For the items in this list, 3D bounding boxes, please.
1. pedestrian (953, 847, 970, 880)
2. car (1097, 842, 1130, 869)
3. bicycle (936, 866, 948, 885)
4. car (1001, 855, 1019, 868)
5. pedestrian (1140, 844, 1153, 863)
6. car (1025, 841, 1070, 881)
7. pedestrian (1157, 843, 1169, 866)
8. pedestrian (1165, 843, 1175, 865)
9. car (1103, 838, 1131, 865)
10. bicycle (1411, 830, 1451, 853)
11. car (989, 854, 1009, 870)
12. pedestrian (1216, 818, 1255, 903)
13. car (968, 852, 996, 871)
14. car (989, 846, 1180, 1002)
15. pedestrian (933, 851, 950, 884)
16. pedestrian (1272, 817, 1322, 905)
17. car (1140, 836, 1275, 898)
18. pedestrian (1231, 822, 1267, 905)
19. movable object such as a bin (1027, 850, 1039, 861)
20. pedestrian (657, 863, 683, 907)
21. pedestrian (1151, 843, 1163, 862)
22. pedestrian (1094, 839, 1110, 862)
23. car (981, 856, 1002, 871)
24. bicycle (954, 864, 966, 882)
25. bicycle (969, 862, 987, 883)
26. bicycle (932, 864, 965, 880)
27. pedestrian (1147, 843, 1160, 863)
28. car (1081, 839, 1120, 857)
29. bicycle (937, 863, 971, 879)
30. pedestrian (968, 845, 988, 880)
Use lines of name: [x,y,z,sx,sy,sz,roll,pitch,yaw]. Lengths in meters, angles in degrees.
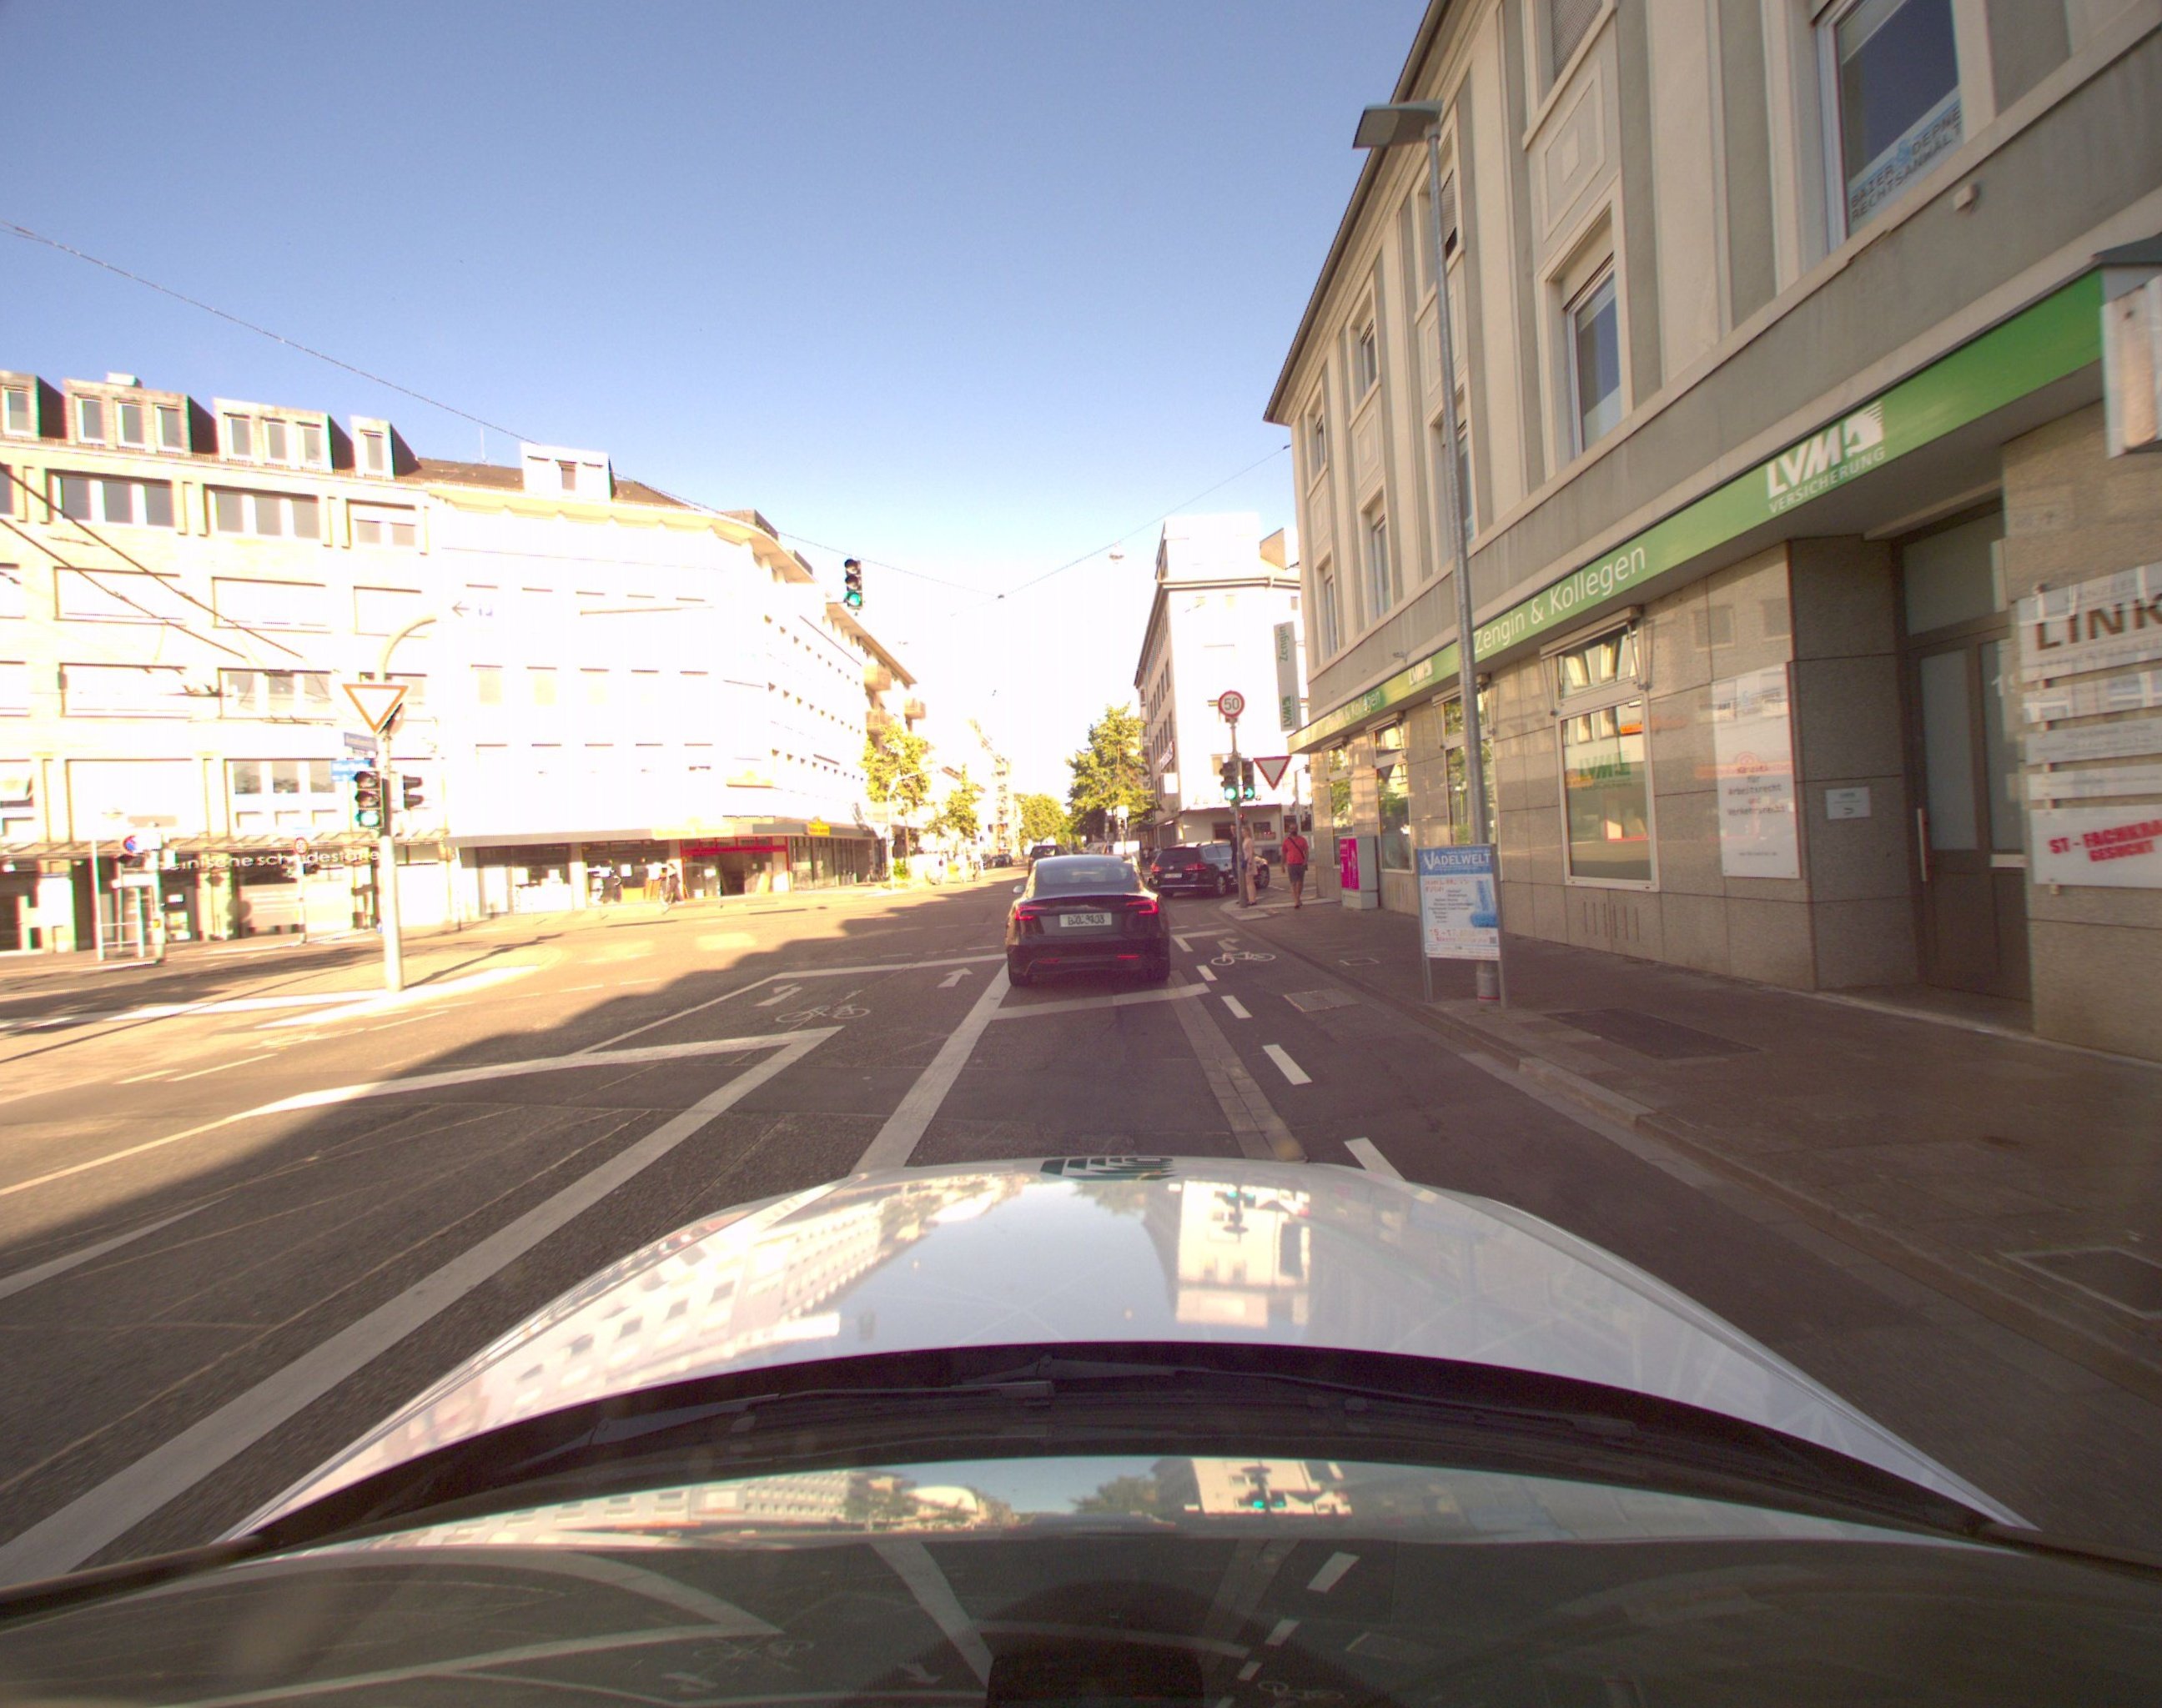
pedestrian: [-6.579,0.524,44.819,0.779,1.727,0.556,-3,0,-14]
car: [2.161,0.068,54.678,1.994,1.636,4.289,-4,0,1]
bicycle: [-7.528,1.156,43.984,0.481,0.955,1.449,-4,0,-13]
car: [-8.328,0.891,95.686,1.781,1.402,3.904,-3,0,-1]
pedestrian: [4.818,-0.064,59.751,0.707,1.347,1.059,-4,0,-3]
car: [-1.594,0.298,40.172,1.897,1.733,4.289,-4,0,1]
pedestrian: [4.921,0.021,49.144,0.584,1.312,0.560,-4,0,0]
pedestrian: [5.482,-0.023,49.923,0.485,1.322,0.655,-4,0,8]
car: [2.643,-0.175,61.253,1.897,1.852,4.289,-4,0,1]
bicycle: [20.231,-0.704,47.131,0.776,1.223,2.090,-4,2,-28]
car: [-9.141,0.845,90.835,1.713,1.610,3.597,-4,0,0]
pedestrian: [3.490,0.136,18.401,0.638,1.842,0.681,-4,0,0]
car: [-9.458,0.671,78.023,1.986,1.598,4.002,-3,0,2]
car: [0.099,0.699,10.510,1.863,1.427,4.366,-4,1,2]
pedestrian: [-7.473,0.735,43.648,0.792,1.712,0.651,-3,0,-15]
pedestrian: [4.398,0.141,16.633,0.687,1.703,0.912,-5,0,2]
car: [3.567,0.305,22.296,1.744,1.418,4.383,-3,0,36]
pedestrian: [3.687,0.196,17.857,0.571,1.759,0.649,-3,0,0]
movable object such as a bin: [-6.868,0.203,116.227,1.312,1.407,1.064,-4,0,-17]
pedestrian: [-16.606,1.242,32.926,0.557,1.709,0.711,-4,0,-2]
pedestrian: [5.598,-0.123,59.909,0.728,1.360,0.958,-4,0,0]
pedestrian: [1.824,-0.298,71.293,0.950,1.915,1.110,-4,0,17]
car: [-9.371,1.017,85.769,1.781,1.402,3.904,-3,0,-1]
bicycle: [-6.641,1.031,44.683,0.552,0.968,1.788,-4,0,-11]
bicycle: [-5.672,1.012,44.822,0.759,1.007,1.719,-7,1,-11]
bicycle: [-9.472,1.286,58.235,2.221,0.958,0.653,-4,0,-12]
pedestrian: [5.203,-0.080,58.641,0.729,1.347,1.059,-4,0,-2]
car: [2.768,-0.809,116.556,5.375,2.145,1.999,-4,0,-1]
bicycle: [-9.537,1.246,61.120,2.397,1.005,0.653,-4,0,-11]
pedestrian: [-5.687,0.462,44.811,0.779,1.866,0.997,-6,1,-14]
